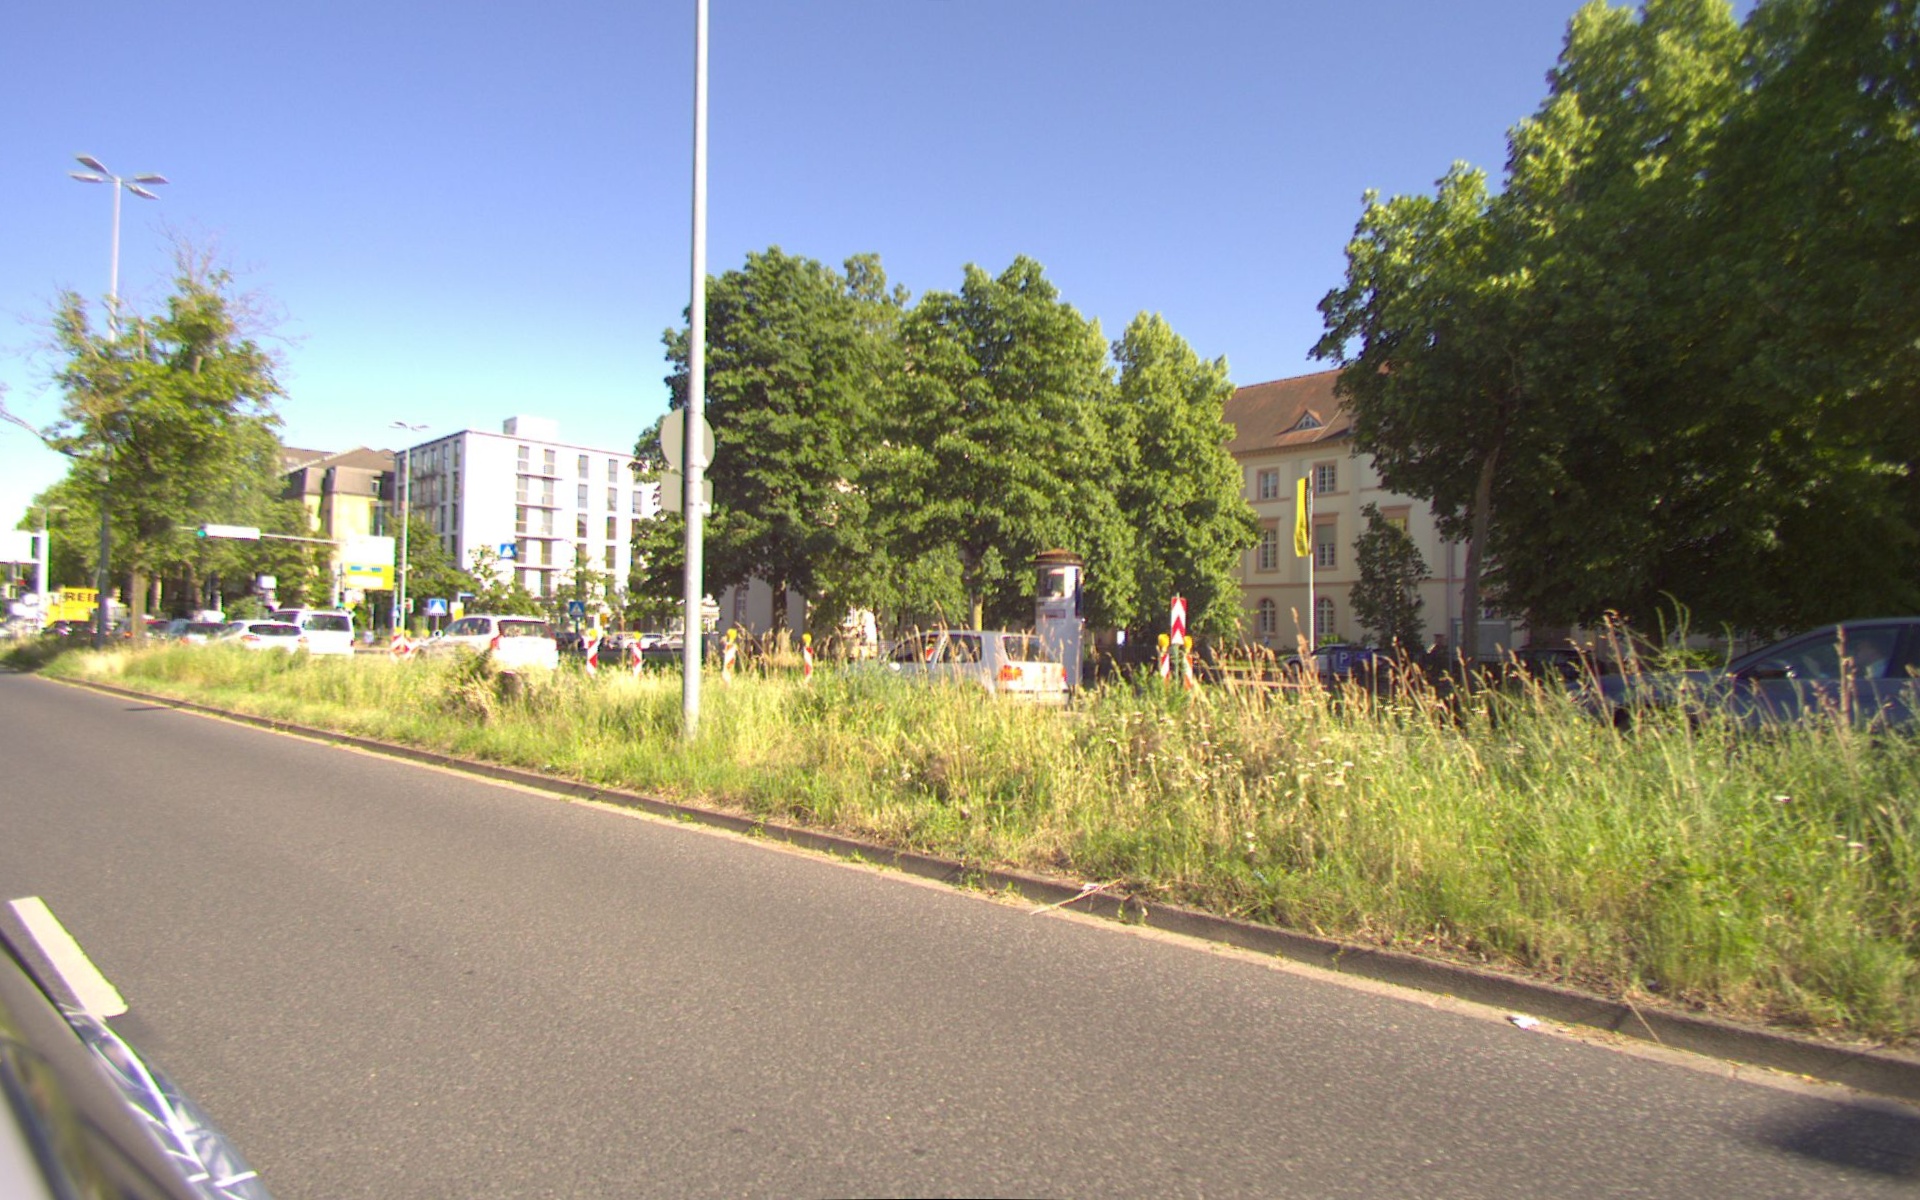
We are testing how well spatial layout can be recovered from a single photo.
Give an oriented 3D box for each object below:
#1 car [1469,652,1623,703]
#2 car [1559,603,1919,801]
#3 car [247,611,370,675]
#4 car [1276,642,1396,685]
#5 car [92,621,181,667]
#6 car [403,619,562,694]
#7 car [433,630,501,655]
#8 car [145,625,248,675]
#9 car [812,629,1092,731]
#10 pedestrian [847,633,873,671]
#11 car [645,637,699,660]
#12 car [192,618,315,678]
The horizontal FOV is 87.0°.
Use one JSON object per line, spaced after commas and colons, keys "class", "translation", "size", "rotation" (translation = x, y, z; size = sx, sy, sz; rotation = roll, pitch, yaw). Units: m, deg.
{"class": "car", "translation": [17.085, 2.226, 29.633], "size": [1.743, 1.333, 3.507], "rotation": [3, -3, -39]}
{"class": "car", "translation": [7.825, 0.814, 8.641], "size": [4.441, 1.530, 1.777], "rotation": [-1, -2, 40]}
{"class": "car", "translation": [-22.717, 1.455, 35.235], "size": [5.014, 2.043, 2.210], "rotation": [-1, -2, 40]}
{"class": "car", "translation": [16.620, 2.777, 44.877], "size": [4.684, 1.503, 1.625], "rotation": [3, 1, 41]}
{"class": "car", "translation": [-30.262, 1.571, 37.154], "size": [4.344, 1.530, 1.777], "rotation": [0, -1, 40]}
{"class": "car", "translation": [-12.421, 1.396, 26.192], "size": [5.028, 1.756, 1.777], "rotation": [-1, -3, 40]}
{"class": "car", "translation": [-34.584, 2.948, 70.995], "size": [3.937, 1.630, 1.922], "rotation": [1, 1, -40]}
{"class": "car", "translation": [-25.076, 1.605, 33.194], "size": [4.360, 1.530, 1.777], "rotation": [-2, -2, 40]}
{"class": "car", "translation": [-0.218, 1.143, 15.777], "size": [4.255, 1.362, 1.777], "rotation": [-1, -2, 40]}
{"class": "pedestrian", "translation": [-4.169, 2.163, 42.140], "size": [0.780, 1.547, 0.733], "rotation": [-1, -3, 35]}
{"class": "car", "translation": [-23.297, 3.898, 81.920], "size": [3.940, 1.630, 1.563], "rotation": [1, 1, -44]}
{"class": "car", "translation": [-19.709, 1.301, 28.162], "size": [4.202, 1.530, 1.777], "rotation": [-1, -3, 40]}
